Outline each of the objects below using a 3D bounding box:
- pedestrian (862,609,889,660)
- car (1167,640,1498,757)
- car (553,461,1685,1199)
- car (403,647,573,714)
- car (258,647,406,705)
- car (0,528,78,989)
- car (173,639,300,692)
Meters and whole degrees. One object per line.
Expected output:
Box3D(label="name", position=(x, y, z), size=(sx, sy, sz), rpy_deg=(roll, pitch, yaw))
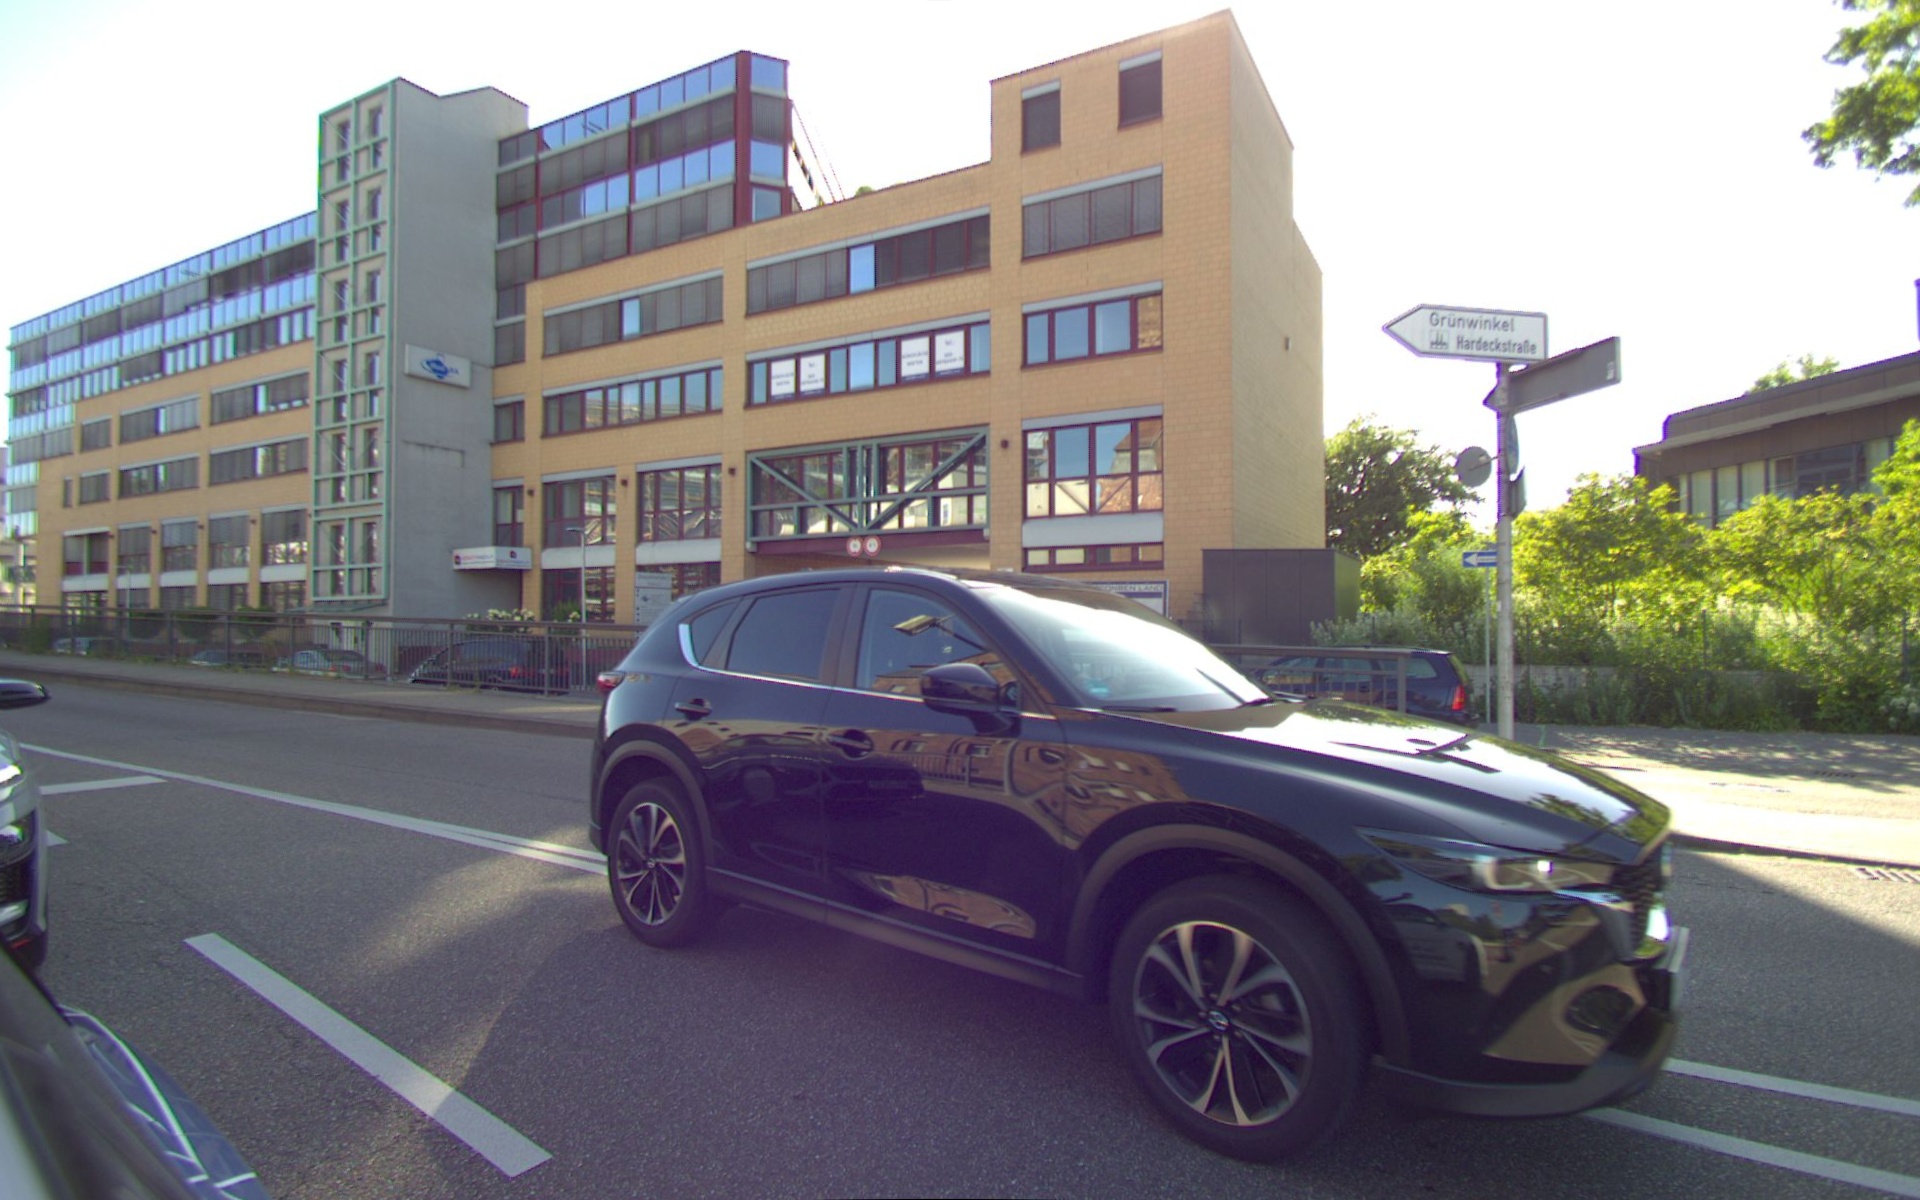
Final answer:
Box3D(label="pedestrian", position=(-3.182, 1.293, 38.091), size=(0.703, 1.865, 0.738), rpy_deg=(-2, -1, 35))
Box3D(label="car", position=(5.486, 1.429, 15.153), size=(4.366, 1.520, 1.641), rpy_deg=(-3, -5, 33))
Box3D(label="car", position=(0.292, 0.653, 4.127), size=(4.192, 1.722, 1.855), rpy_deg=(-2, -3, 40))
Box3D(label="car", position=(-11.790, 1.953, 25.253), size=(4.138, 1.535, 1.624), rpy_deg=(-2, -2, 26))
Box3D(label="car", position=(-18.305, 2.165, 29.475), size=(4.142, 1.535, 1.862), rpy_deg=(-2, -2, 29))
Box3D(label="car", position=(-5.448, 0.591, 4.447), size=(4.195, 1.634, 1.854), rpy_deg=(-2, -3, 42))
Box3D(label="car", position=(-23.008, 2.056, 32.149), size=(3.985, 1.576, 1.865), rpy_deg=(-2, -2, 31))
